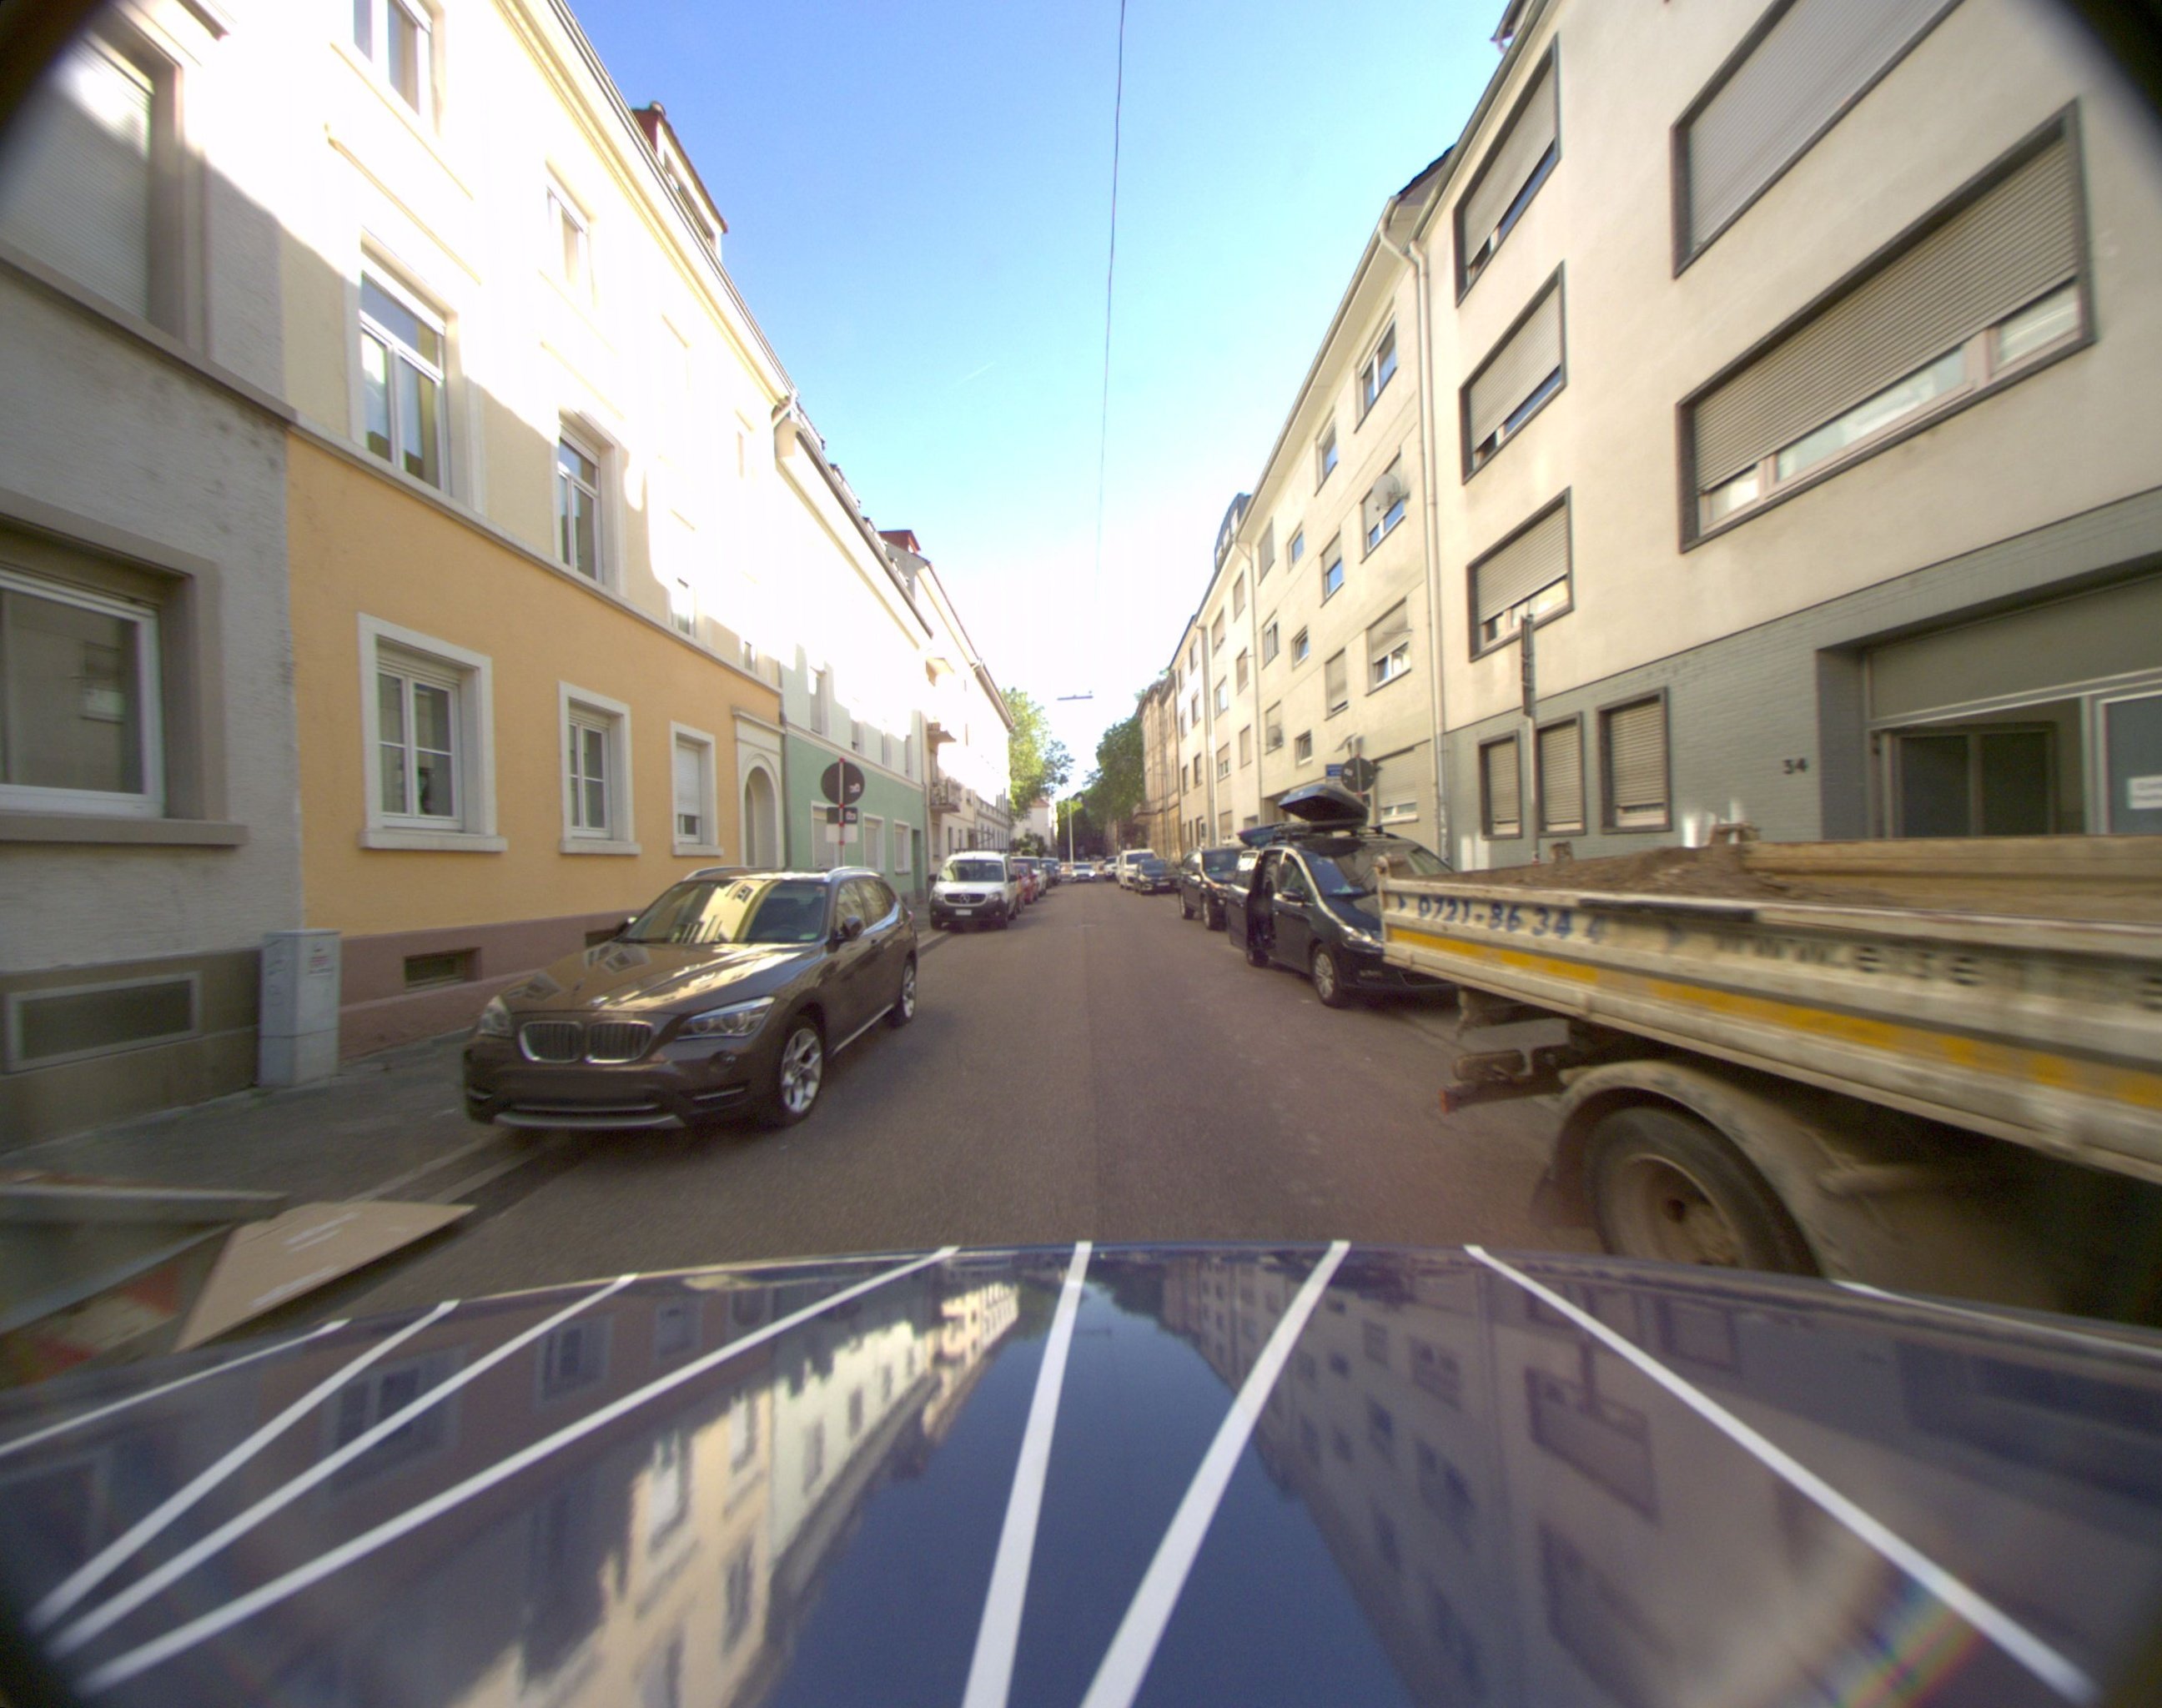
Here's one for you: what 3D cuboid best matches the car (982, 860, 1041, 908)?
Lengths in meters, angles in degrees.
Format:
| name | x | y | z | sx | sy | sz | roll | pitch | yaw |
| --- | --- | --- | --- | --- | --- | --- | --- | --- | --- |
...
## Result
| name | x | y | z | sx | sy | sz | roll | pitch | yaw |
| --- | --- | --- | --- | --- | --- | --- | --- | --- | --- |
| car | -2.498 | 1.051 | 28.117 | 1.746 | 1.559 | 4.032 | -2 | 0 | 0 |

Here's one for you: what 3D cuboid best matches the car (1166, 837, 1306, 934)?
| name | x | y | z | sx | sy | sz | roll | pitch | yaw |
| --- | --- | --- | --- | --- | --- | --- | --- | --- | --- |
| car | 3.328 | 0.645 | 17.295 | 1.885 | 1.745 | 4.542 | -5 | 0 | -3 |

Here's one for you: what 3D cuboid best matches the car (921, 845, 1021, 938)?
| name | x | y | z | sx | sy | sz | roll | pitch | yaw |
| --- | --- | --- | --- | --- | --- | --- | --- | --- | --- |
| car | -2.559 | 0.796 | 18.661 | 1.786 | 1.950 | 4.335 | -2 | 0 | -1 |

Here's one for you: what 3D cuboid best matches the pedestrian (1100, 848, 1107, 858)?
| name | x | y | z | sx | sy | sz | roll | pitch | yaw |
| --- | --- | --- | --- | --- | --- | --- | --- | --- | --- |
| pedestrian | 3.605 | -0.181 | 123.243 | 0.761 | 1.651 | 0.826 | -2 | 0 | -27 |

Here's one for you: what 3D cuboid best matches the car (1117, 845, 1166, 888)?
| name | x | y | z | sx | sy | sz | roll | pitch | yaw |
| --- | --- | --- | --- | --- | --- | --- | --- | --- | --- |
| car | 3.020 | 0.611 | 38.930 | 1.899 | 1.946 | 4.781 | -4 | 0 | -2 |

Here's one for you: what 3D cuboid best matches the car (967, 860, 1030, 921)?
| name | x | y | z | sx | sy | sz | roll | pitch | yaw |
| --- | --- | --- | --- | --- | --- | --- | --- | --- | --- |
| car | -2.464 | 1.061 | 23.506 | 1.584 | 1.622 | 3.681 | -4 | 0 | -2 |

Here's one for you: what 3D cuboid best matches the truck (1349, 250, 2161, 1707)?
| name | x | y | z | sx | sy | sz | roll | pitch | yaw |
| --- | --- | --- | --- | --- | --- | --- | --- | --- | --- |
| truck | 2.755 | 0.340 | 0.929 | 2.163 | 2.575 | 6.246 | -3 | 1 | -4 |

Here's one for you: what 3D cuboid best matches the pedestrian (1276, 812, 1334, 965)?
| name | x | y | z | sx | sy | sz | roll | pitch | yaw |
| --- | --- | --- | --- | --- | --- | --- | --- | --- | --- |
| pedestrian | 3.333 | 0.495 | 11.355 | 0.620 | 2.216 | 0.688 | -2 | 2 | 1 |

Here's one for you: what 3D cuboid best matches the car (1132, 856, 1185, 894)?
| name | x | y | z | sx | sy | sz | roll | pitch | yaw |
| --- | --- | --- | --- | --- | --- | --- | --- | --- | --- |
| car | 3.268 | 0.843 | 32.593 | 1.711 | 1.442 | 4.301 | -3 | 0 | -1 |

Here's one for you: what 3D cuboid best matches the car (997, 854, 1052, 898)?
| name | x | y | z | sx | sy | sz | roll | pitch | yaw |
| --- | --- | --- | --- | --- | --- | --- | --- | --- | --- |
| car | -2.463 | 0.941 | 34.319 | 2.010 | 1.773 | 4.939 | -2 | -1 | 0 |

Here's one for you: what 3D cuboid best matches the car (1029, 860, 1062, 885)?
| name | x | y | z | sx | sy | sz | roll | pitch | yaw |
| --- | --- | --- | --- | --- | --- | --- | --- | --- | --- |
| car | -2.320 | 1.203 | 50.551 | 1.819 | 1.510 | 4.728 | -4 | -1 | 0 |

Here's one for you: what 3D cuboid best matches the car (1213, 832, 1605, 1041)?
| name | x | y | z | sx | sy | sz | roll | pitch | yaw |
| --- | --- | --- | --- | --- | --- | --- | --- | --- | --- |
| car | 3.290 | 0.716 | 9.186 | 2.447 | 1.696 | 5.242 | -3 | 0 | 0 |

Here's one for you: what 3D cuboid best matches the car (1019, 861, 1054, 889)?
| name | x | y | z | sx | sy | sz | roll | pitch | yaw |
| --- | --- | --- | --- | --- | --- | --- | --- | --- | --- |
| car | -2.588 | 1.208 | 44.811 | 1.751 | 1.440 | 3.870 | -4 | -1 | 0 |

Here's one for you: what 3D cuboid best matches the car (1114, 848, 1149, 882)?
| name | x | y | z | sx | sy | sz | roll | pitch | yaw |
| --- | --- | --- | --- | --- | --- | --- | --- | --- | --- |
| car | 3.153 | 0.688 | 48.133 | 1.749 | 1.865 | 4.090 | -6 | 0 | 0 |

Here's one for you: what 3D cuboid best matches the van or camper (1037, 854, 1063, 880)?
| name | x | y | z | sx | sy | sz | roll | pitch | yaw |
| --- | --- | --- | --- | --- | --- | --- | --- | --- | --- |
| van or camper | -2.489 | 1.062 | 61.913 | 1.899 | 2.001 | 5.031 | -2 | 0 | -1 |

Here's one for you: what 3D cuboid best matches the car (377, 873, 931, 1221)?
| name | x | y | z | sx | sy | sz | roll | pitch | yaw |
| --- | --- | --- | --- | --- | --- | --- | --- | --- | --- |
| car | -2.509 | 0.992 | 5.883 | 1.744 | 1.568 | 4.378 | -2 | -1 | 0 |

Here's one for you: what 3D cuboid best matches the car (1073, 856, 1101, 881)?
| name | x | y | z | sx | sy | sz | roll | pitch | yaw |
| --- | --- | --- | --- | --- | --- | --- | --- | --- | --- |
| car | 0.442 | 1.062 | 56.946 | 2.010 | 1.693 | 4.503 | -2 | -1 | 0 |

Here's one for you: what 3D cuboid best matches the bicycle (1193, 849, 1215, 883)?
| name | x | y | z | sx | sy | sz | roll | pitch | yaw |
| --- | --- | --- | --- | --- | --- | --- | --- | --- | --- |
| bicycle | 5.735 | 0.533 | 35.466 | 0.558 | 1.500 | 1.800 | -4 | 0 | -3 |

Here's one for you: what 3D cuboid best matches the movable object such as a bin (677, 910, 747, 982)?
| name | x | y | z | sx | sy | sz | roll | pitch | yaw |
| --- | --- | --- | --- | --- | --- | --- | --- | --- | --- |
| movable object such as a bin | -5.272 | 1.302 | 10.886 | 0.655 | 0.930 | 0.642 | -2 | 0 | -2 |

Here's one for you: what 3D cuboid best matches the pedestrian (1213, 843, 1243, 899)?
| name | x | y | z | sx | sy | sz | roll | pitch | yaw |
| --- | --- | --- | --- | --- | --- | --- | --- | --- | --- |
| pedestrian | 5.278 | 0.592 | 27.270 | 0.808 | 1.923 | 0.691 | -4 | 0 | 0 |

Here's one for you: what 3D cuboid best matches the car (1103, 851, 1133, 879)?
| name | x | y | z | sx | sy | sz | roll | pitch | yaw |
| --- | --- | --- | --- | --- | --- | --- | --- | --- | --- |
| car | 2.822 | 0.801 | 58.799 | 2.027 | 2.002 | 4.543 | -2 | 0 | 0 |
